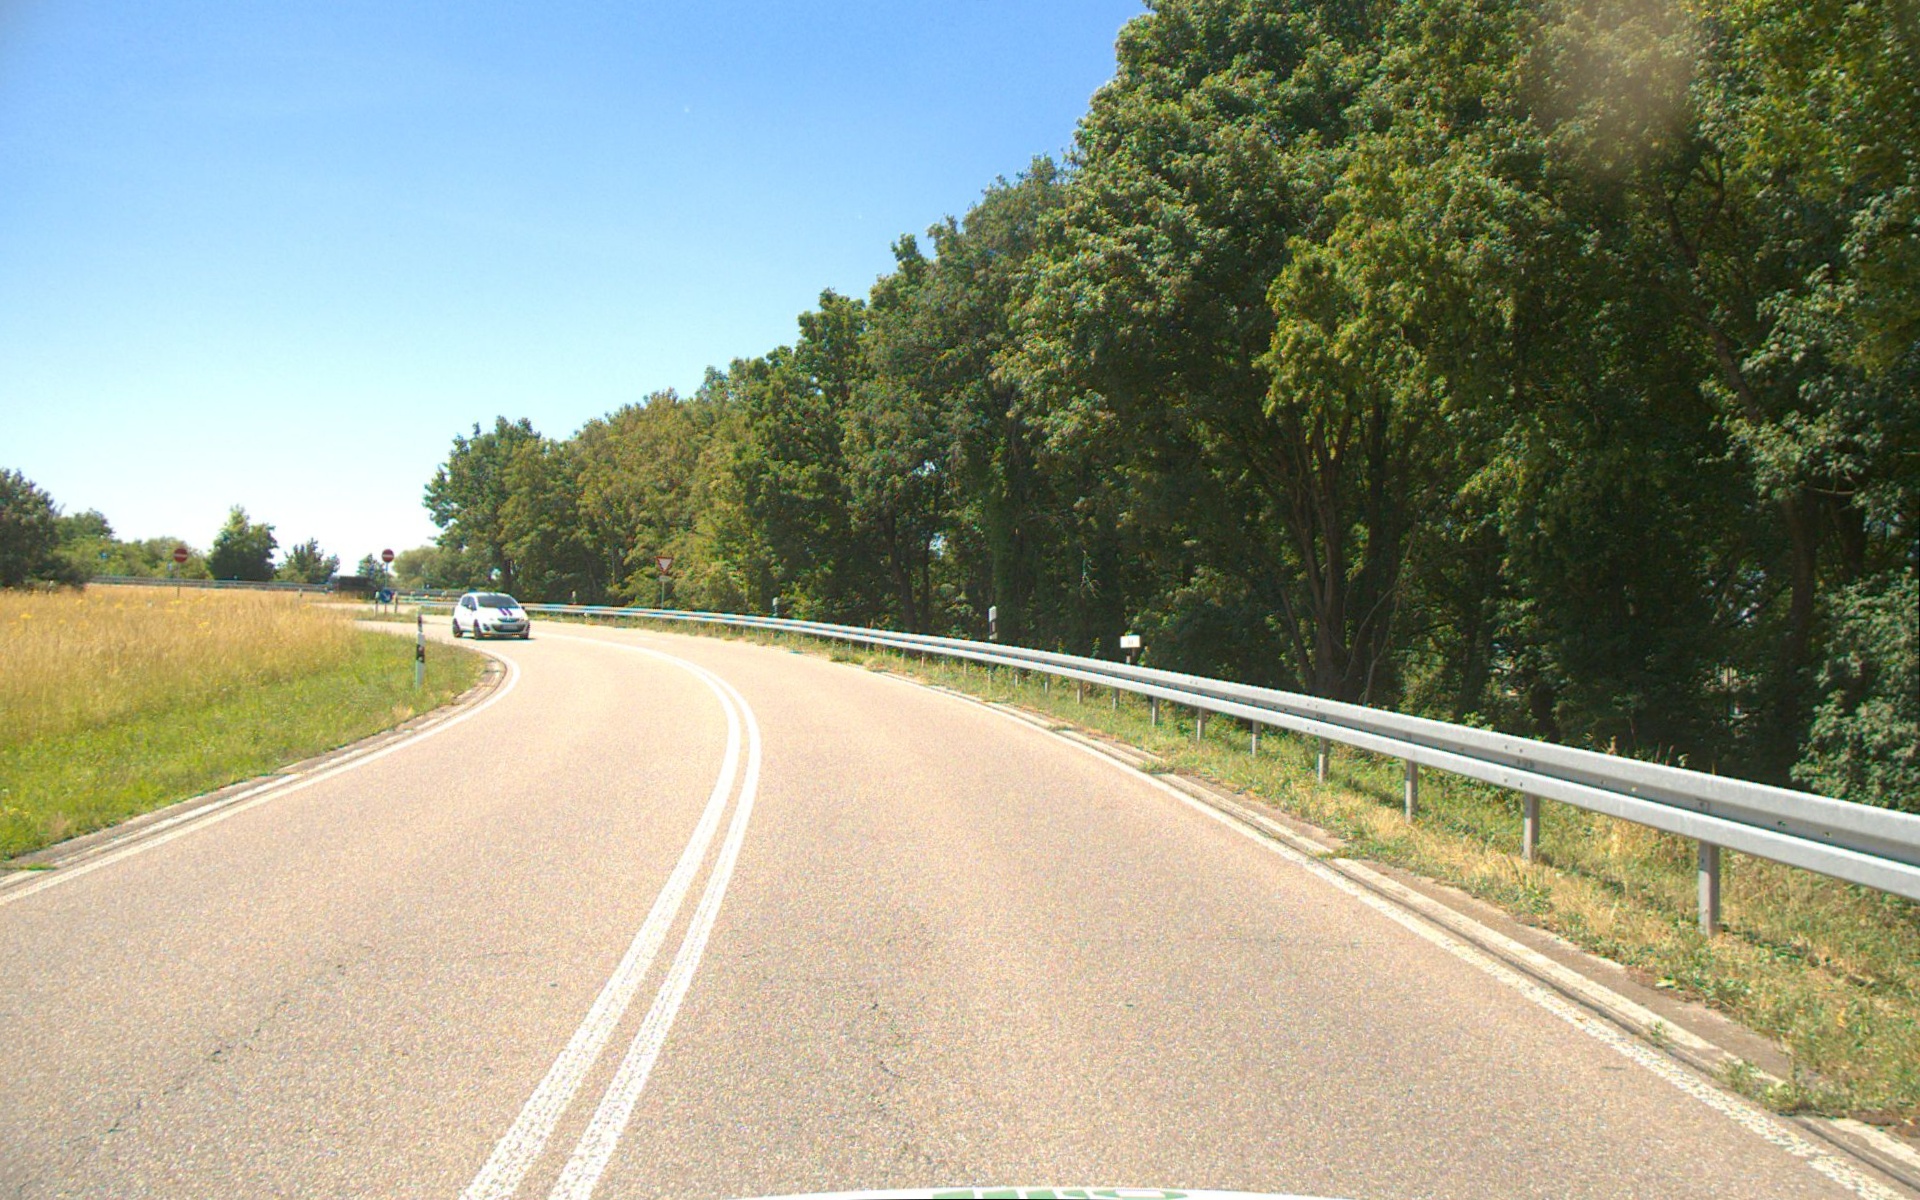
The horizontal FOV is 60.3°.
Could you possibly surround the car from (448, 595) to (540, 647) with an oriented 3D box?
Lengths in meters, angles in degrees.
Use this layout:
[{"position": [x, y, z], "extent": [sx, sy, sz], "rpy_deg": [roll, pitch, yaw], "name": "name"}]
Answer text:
[{"position": [-15.295, 0.707, 54.117], "extent": [1.805, 1.533, 4.125], "rpy_deg": [-1, -2, -32], "name": "car"}]
